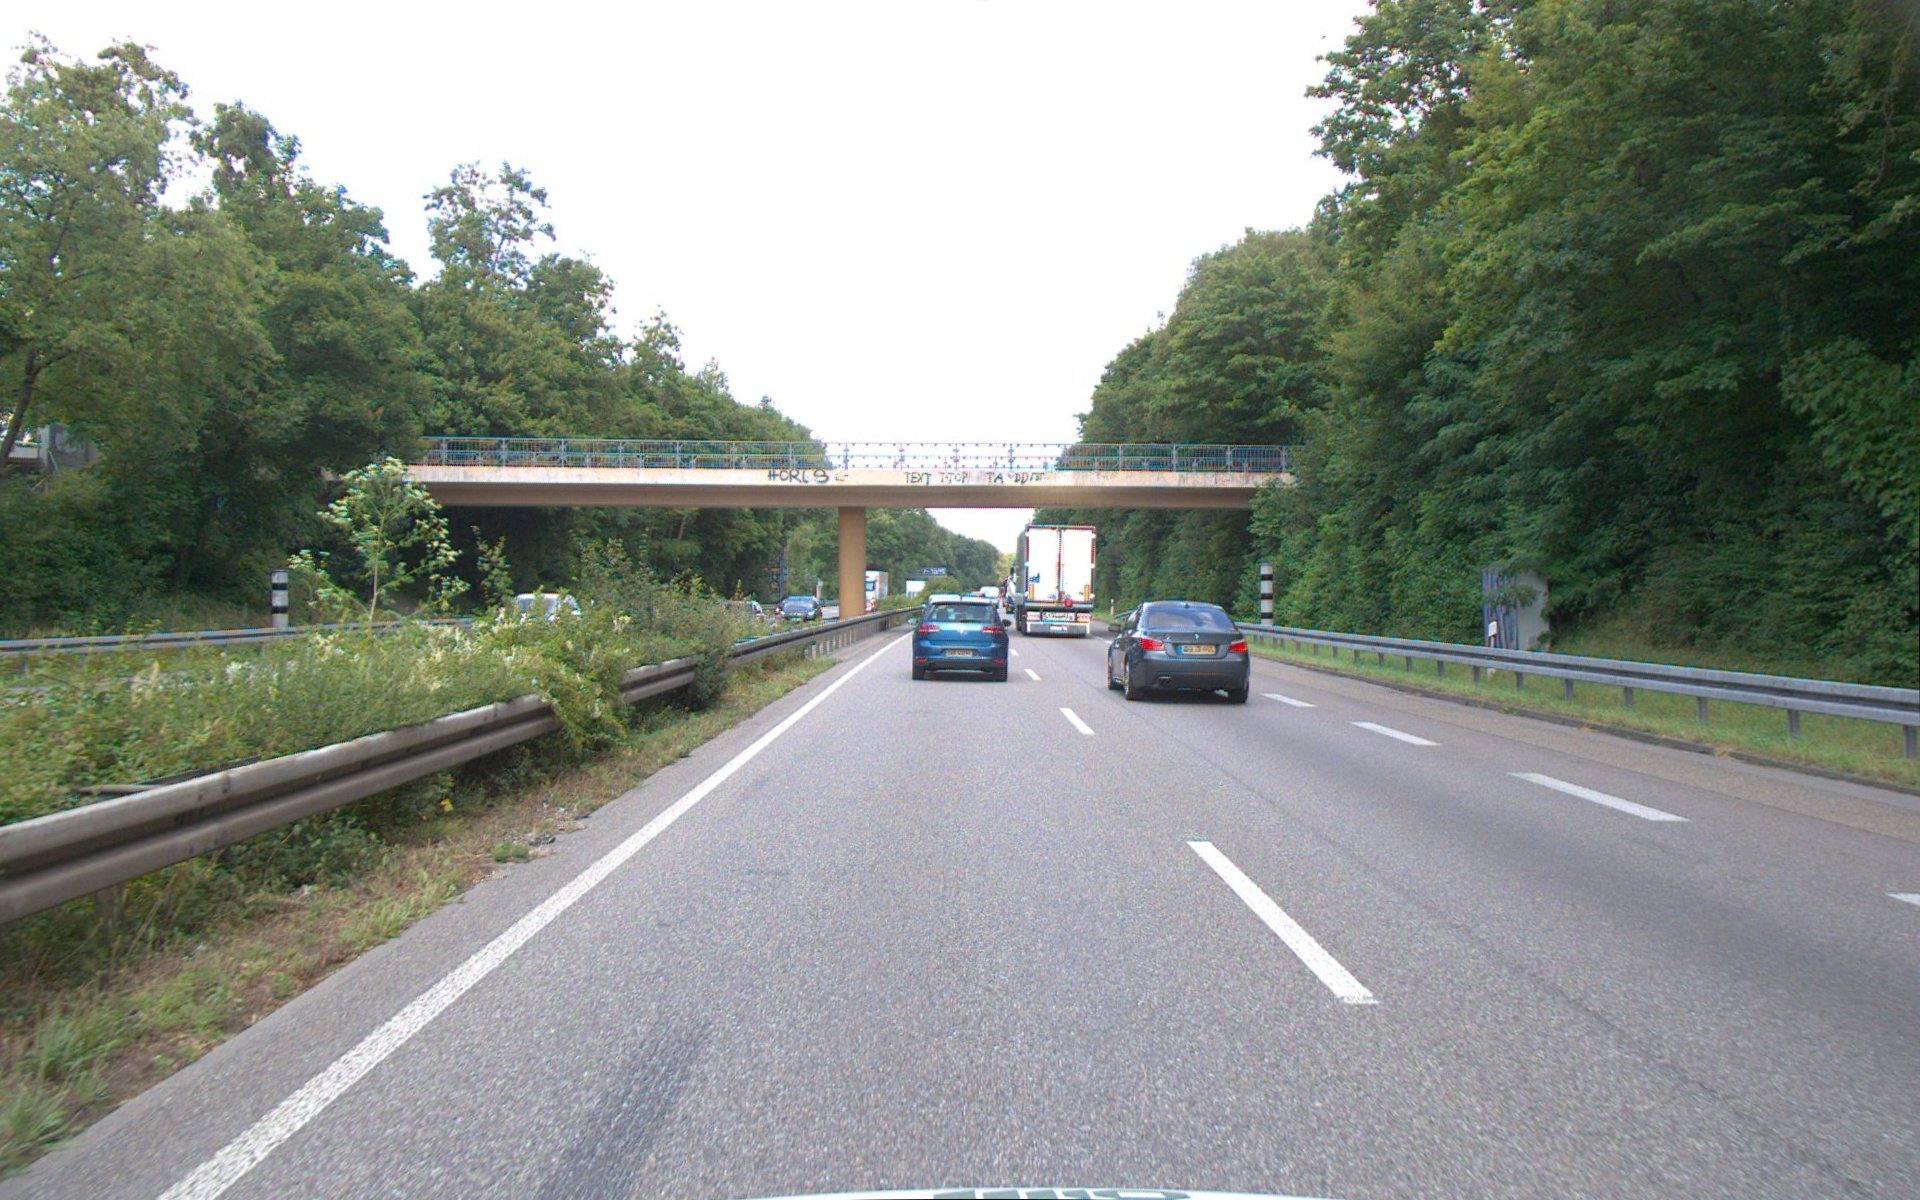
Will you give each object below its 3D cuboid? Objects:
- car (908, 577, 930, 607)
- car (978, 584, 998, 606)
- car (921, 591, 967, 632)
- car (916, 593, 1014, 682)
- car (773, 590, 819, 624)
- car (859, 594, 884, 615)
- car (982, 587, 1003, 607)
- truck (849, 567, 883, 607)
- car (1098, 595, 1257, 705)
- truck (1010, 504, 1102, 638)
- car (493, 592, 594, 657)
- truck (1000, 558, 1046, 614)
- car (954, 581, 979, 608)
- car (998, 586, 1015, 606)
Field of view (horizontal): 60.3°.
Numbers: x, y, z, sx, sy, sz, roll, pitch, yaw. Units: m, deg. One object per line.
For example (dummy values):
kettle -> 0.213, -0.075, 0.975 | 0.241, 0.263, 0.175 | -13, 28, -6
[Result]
car -> -4.594, -0.879, 186.378 | 2.241, 3.289, 7.287 | 0, 0, 1
car -> 2.982, -0.533, 177.461 | 1.953, 2.294, 4.441 | 0, 0, -1
car -> -0.610, 0.440, 64.918 | 1.631, 1.526, 4.153 | 1, 0, 2
car -> 0.118, 0.639, 30.488 | 1.670, 1.495, 4.000 | 1, 0, 1
car -> -8.029, 0.324, 81.194 | 1.827, 1.617, 4.565 | 0, 0, 0
car -> -6.506, 0.337, 121.966 | 1.651, 1.502, 4.436 | 0, 0, 0
car -> 3.055, -0.272, 155.068 | 1.913, 1.887, 4.002 | 0, 0, 3
truck -> -9.741, -1.380, 172.071 | 2.977, 4.056, 6.750 | 0, 0, 2
car -> 3.247, 0.702, 25.583 | 1.738, 1.501, 4.879 | 1, 0, -1
truck -> 3.612, -1.082, 64.856 | 3.175, 4.798, 11.008 | 0, 0, 1
car -> -11.890, 0.660, 47.494 | 1.749, 1.769, 4.879 | 0, 0, -1
truck -> 5.191, -1.051, 139.000 | 3.166, 4.463, 12.968 | 1, -1, -1
car -> 0.560, -0.450, 130.803 | 1.914, 2.049, 4.001 | 0, 0, 1
car -> 5.743, -0.511, 204.454 | 1.953, 2.368, 4.441 | 0, 0, -1
